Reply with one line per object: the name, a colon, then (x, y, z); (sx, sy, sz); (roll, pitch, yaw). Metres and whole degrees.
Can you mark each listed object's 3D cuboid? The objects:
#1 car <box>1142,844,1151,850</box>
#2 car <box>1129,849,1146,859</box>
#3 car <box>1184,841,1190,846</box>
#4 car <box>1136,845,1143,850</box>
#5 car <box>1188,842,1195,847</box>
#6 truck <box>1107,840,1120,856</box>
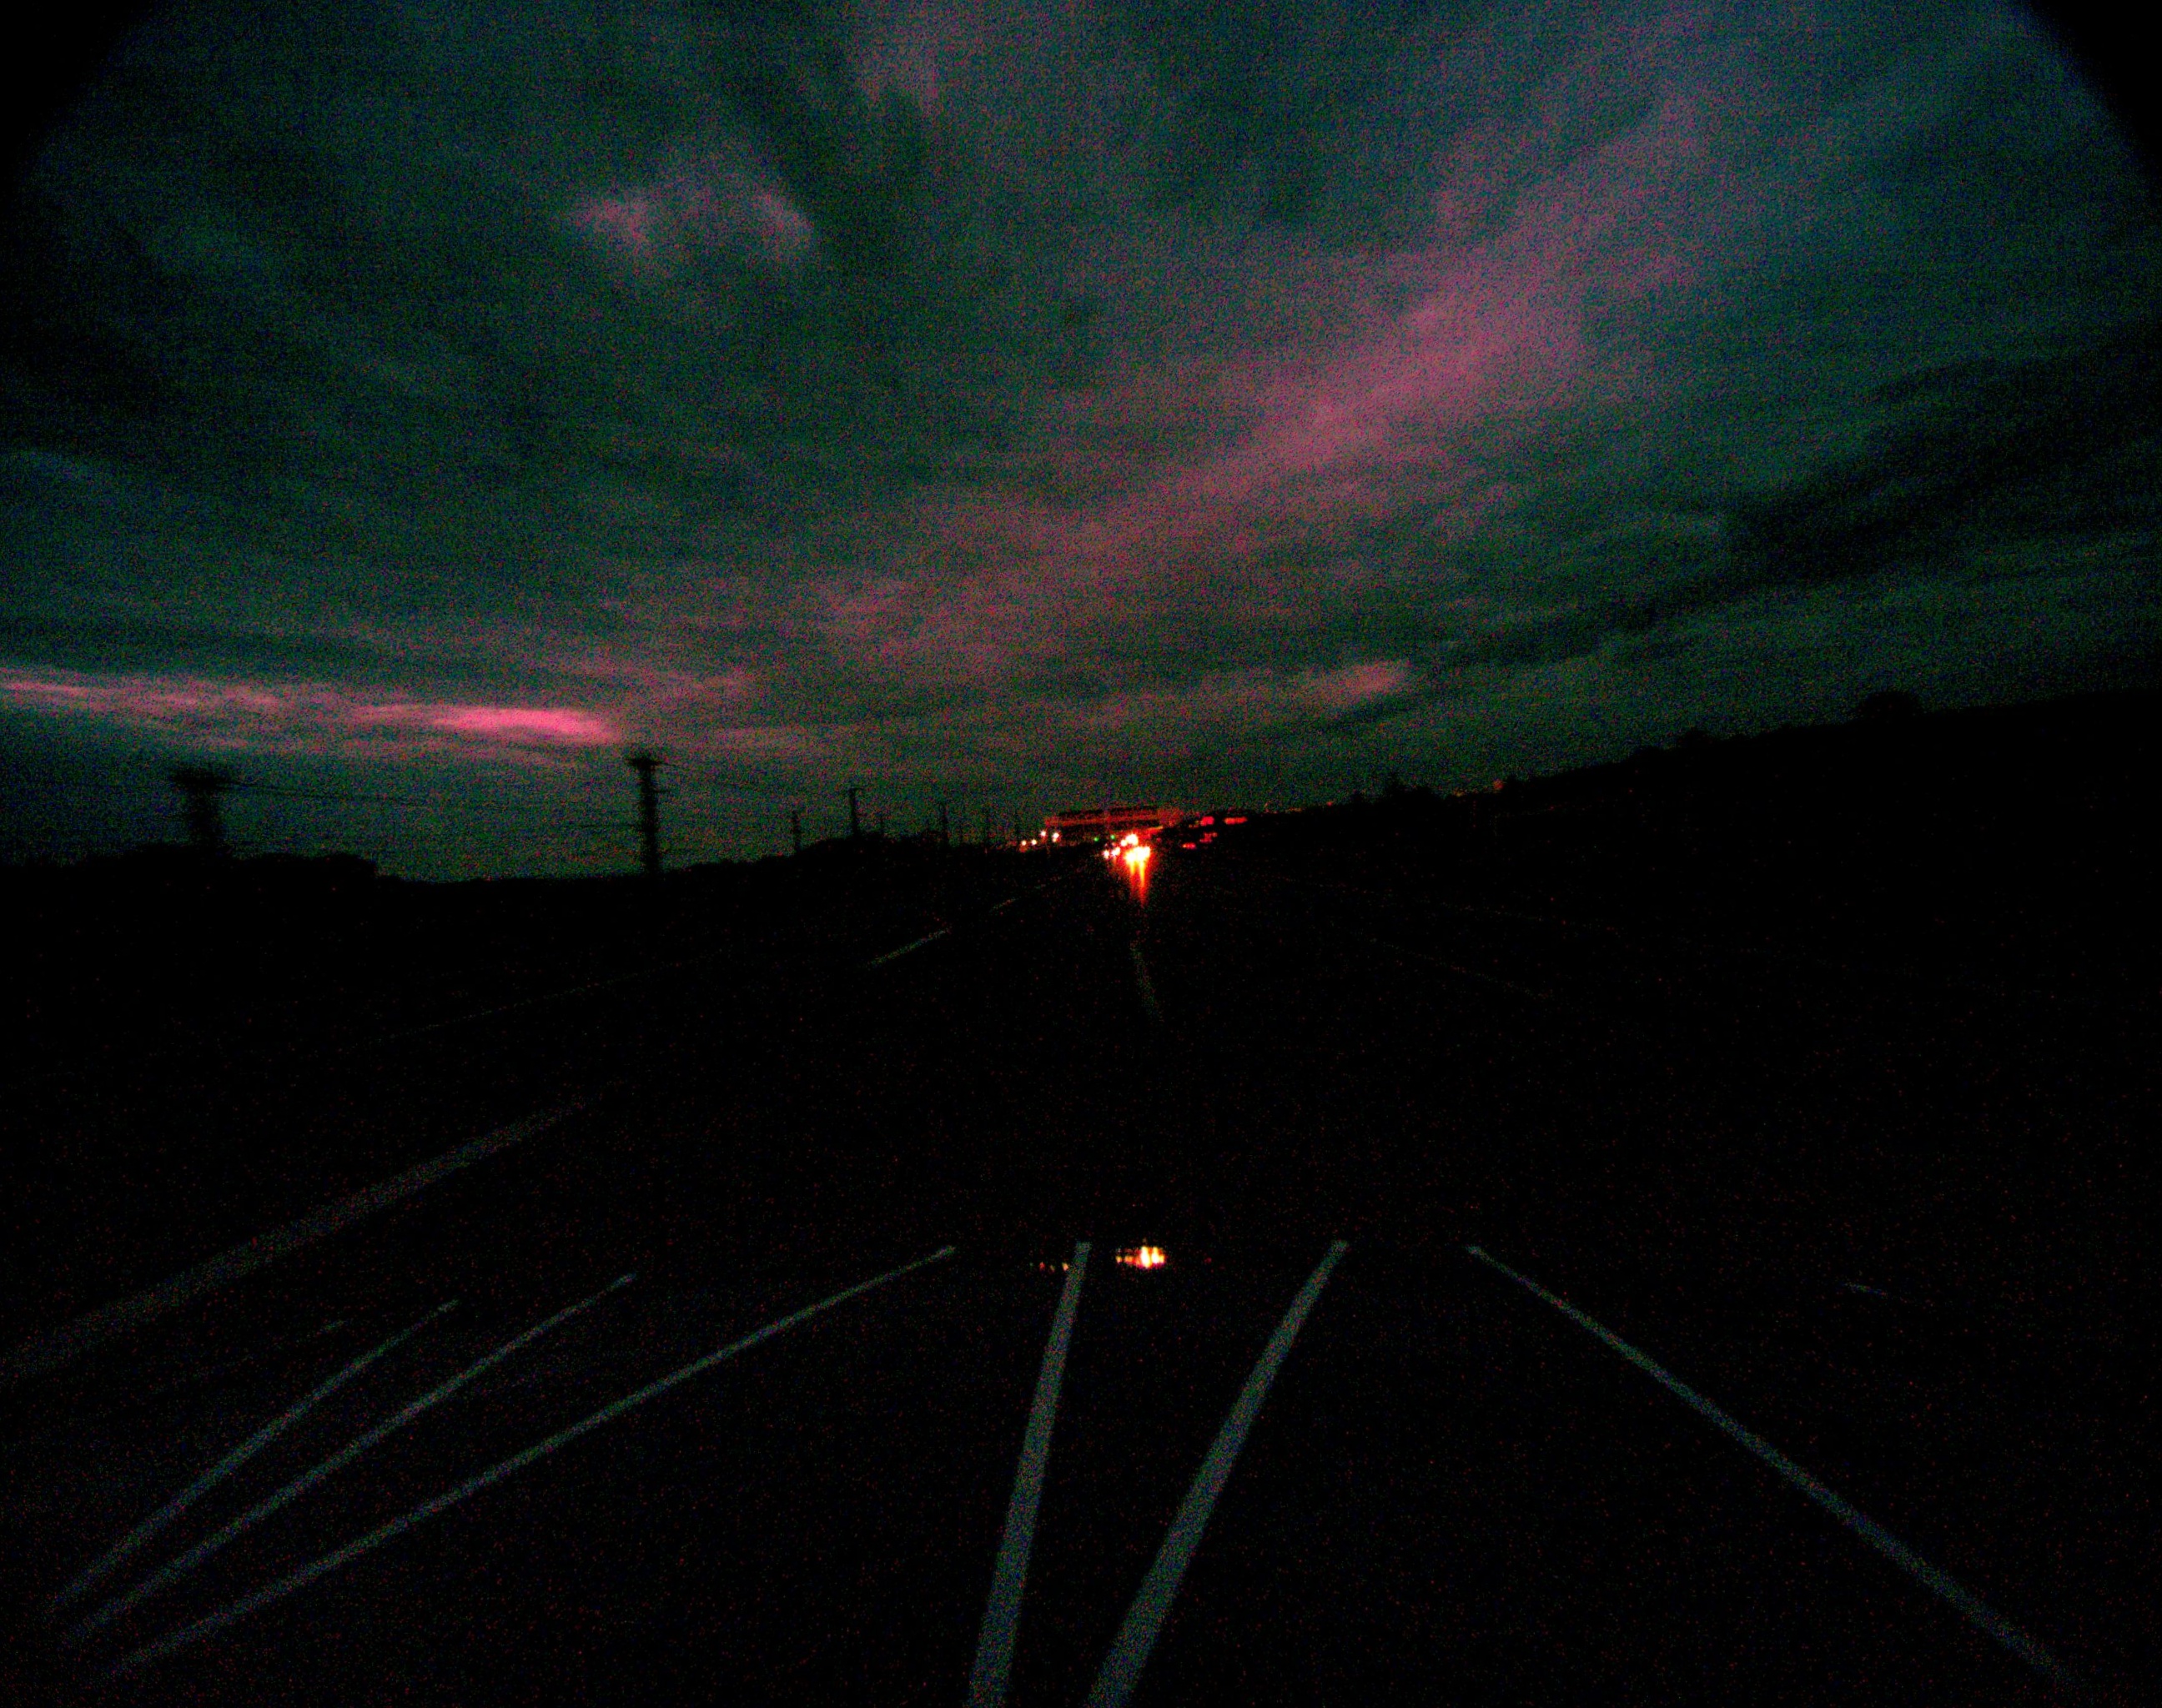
car: (17.520, -1.971, 202.538); (1.998, 1.342, 4.175); (-5, 1, 2)
car: (7.669, -0.003, 102.711); (1.998, 1.342, 4.174); (0, 1, 0)
car: (35.653, -3.591, 256.247); (1.693, 1.393, 4.429); (-6, 2, 5)
car: (17.628, -1.919, 228.870); (1.998, 1.342, 4.176); (-5, 1, 4)
car: (32.612, -2.774, 224.964); (1.693, 1.393, 4.429); (-6, 2, 5)
truck: (9.001, -1.643, 208.324); (3.059, 4.047, 10.524); (-2, 0, 4)
